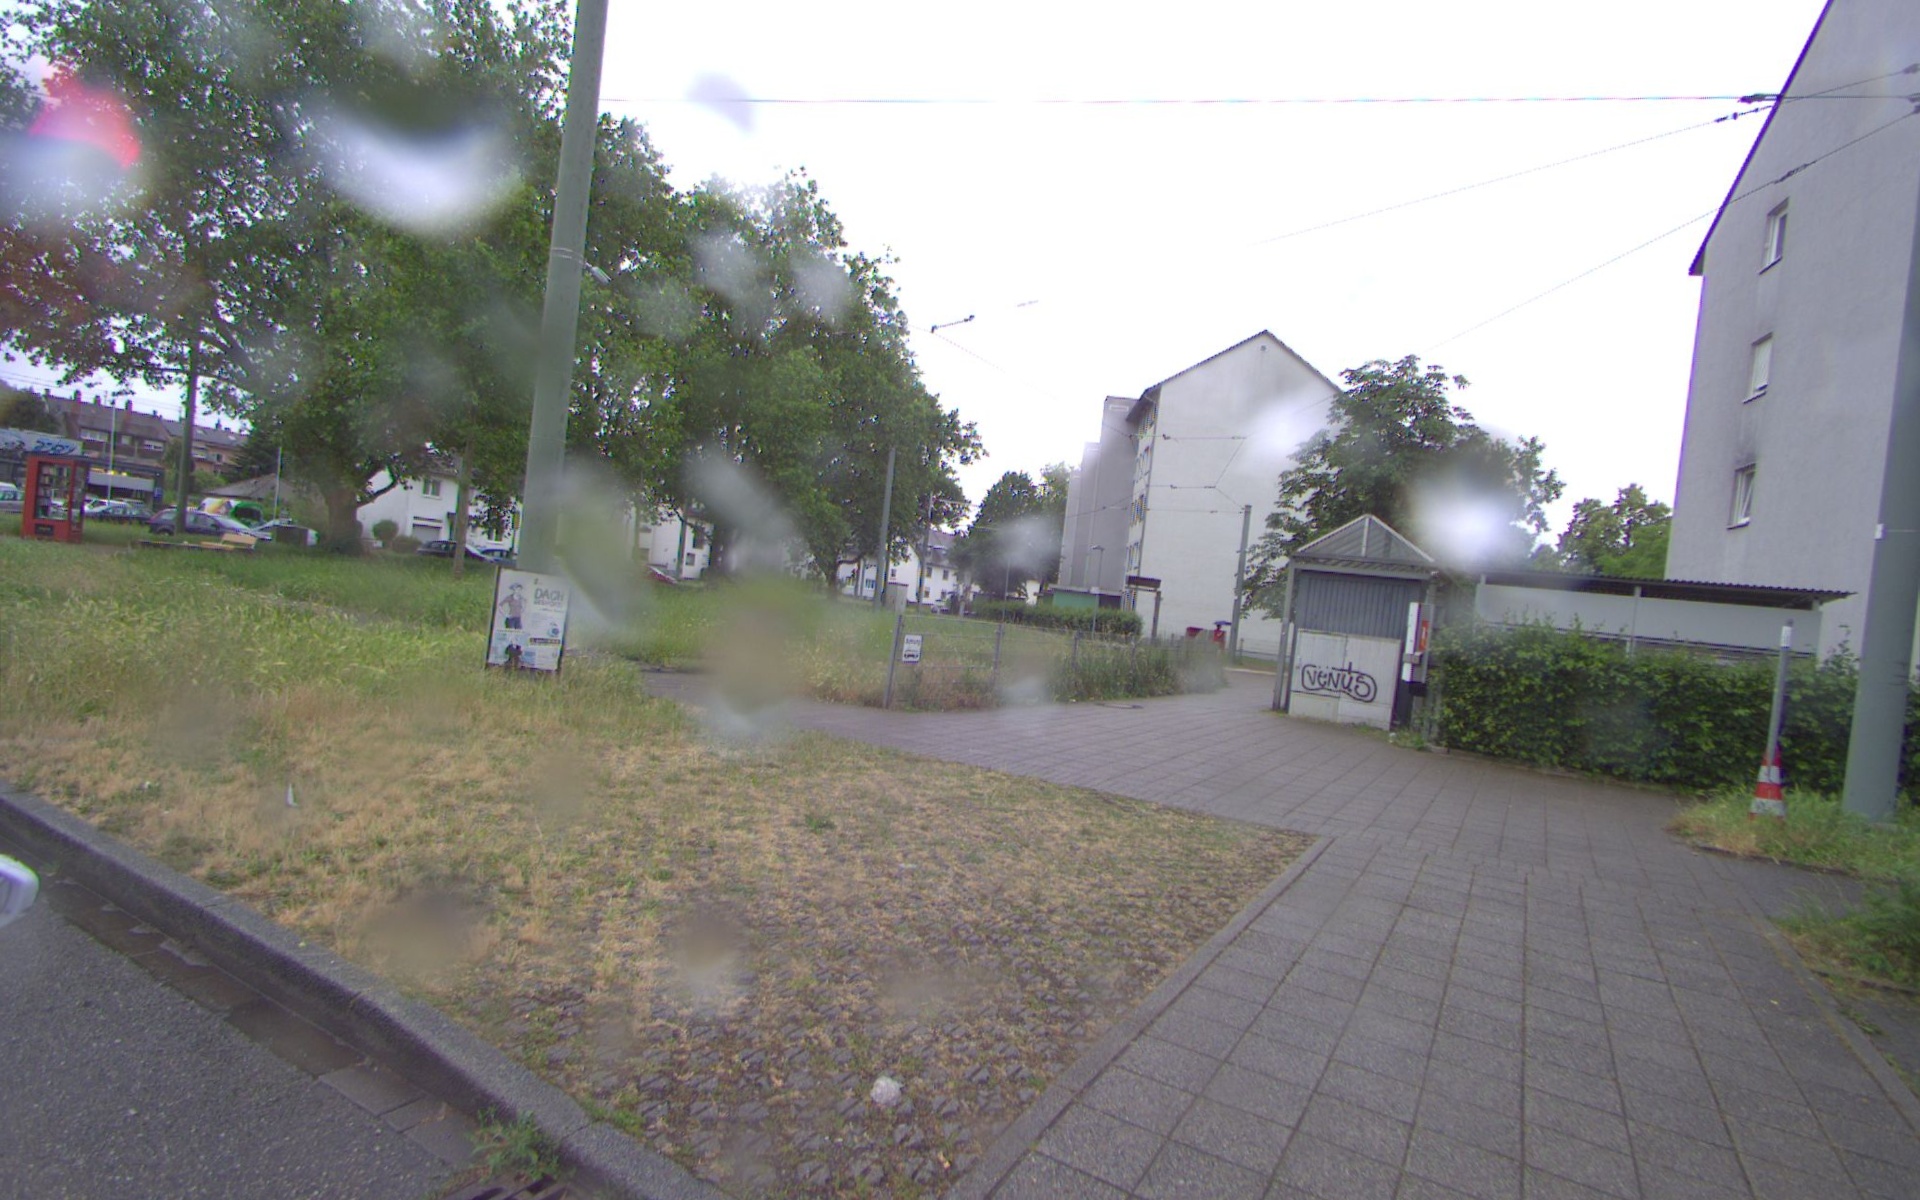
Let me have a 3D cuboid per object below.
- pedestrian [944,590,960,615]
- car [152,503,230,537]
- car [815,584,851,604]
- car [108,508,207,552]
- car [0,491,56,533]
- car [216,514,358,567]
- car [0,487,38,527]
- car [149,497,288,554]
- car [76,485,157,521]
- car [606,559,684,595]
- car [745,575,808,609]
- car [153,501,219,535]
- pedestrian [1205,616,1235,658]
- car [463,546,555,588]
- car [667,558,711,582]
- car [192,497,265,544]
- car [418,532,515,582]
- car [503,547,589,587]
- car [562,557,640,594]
[{"bbox_3d":[-0.627,0.224,77.788,1.022,1.811,0.818,7,-1,-3],"label":"pedestrian"},{"bbox_3d":[-55.468,-5.763,72.610,1.816,1.658,3.995,6,-2,32],"label":"car"},{"bbox_3d":[-14.091,-0.623,111.612,1.859,1.679,3.692,6,-2,32],"label":"car"},{"bbox_3d":[-43.430,-3.781,54.515,1.859,1.720,3.692,6,-2,32],"label":"car"},{"bbox_3d":[-46.585,-4.429,48.732,1.859,1.720,3.692,6,-2,32],"label":"car"},{"bbox_3d":[-25.164,-2.205,37.715,1.819,1.300,3.987,6,-3,39],"label":"car"},{"bbox_3d":[-54.726,-5.454,56.358,1.966,1.973,3.997,6,-2,30],"label":"car"},{"bbox_3d":[-29.173,-2.895,39.698,3.855,1.512,1.806,8,-2,-15],"label":"car"},{"bbox_3d":[-61.691,-7.079,73.624,1.968,1.811,3.992,6,-2,34],"label":"car"},{"bbox_3d":[-18.631,-1.332,59.594,3.842,1.513,1.812,7,-2,3],"label":"car"},{"bbox_3d":[-12.745,-0.546,70.108,3.843,1.785,1.812,7,-2,0],"label":"car"},{"bbox_3d":[-62.141,-6.558,80.774,3.924,2.037,2.002,7,-2,14],"label":"car"},{"bbox_3d":[11.380,1.623,44.070,0.806,1.674,0.889,6,-1,41],"label":"pedestrian"},{"bbox_3d":[-22.816,-1.663,51.068,3.855,1.512,1.806,8,-2,-15],"label":"car"},{"bbox_3d":[-25.715,-2.799,95.529,1.859,1.679,3.692,6,-2,32],"label":"car"},{"bbox_3d":[-46.748,-5.055,64.272,4.280,2.471,1.998,6,-2,31],"label":"car"},{"bbox_3d":[-23.733,-2.040,48.535,3.710,1.819,1.806,8,-2,-15],"label":"car"},{"bbox_3d":[-21.982,-1.726,53.504,3.855,1.512,1.806,8,-2,-15],"label":"car"},{"bbox_3d":[-20.114,-1.358,56.538,3.855,1.512,1.806,8,-2,-15],"label":"car"}]
